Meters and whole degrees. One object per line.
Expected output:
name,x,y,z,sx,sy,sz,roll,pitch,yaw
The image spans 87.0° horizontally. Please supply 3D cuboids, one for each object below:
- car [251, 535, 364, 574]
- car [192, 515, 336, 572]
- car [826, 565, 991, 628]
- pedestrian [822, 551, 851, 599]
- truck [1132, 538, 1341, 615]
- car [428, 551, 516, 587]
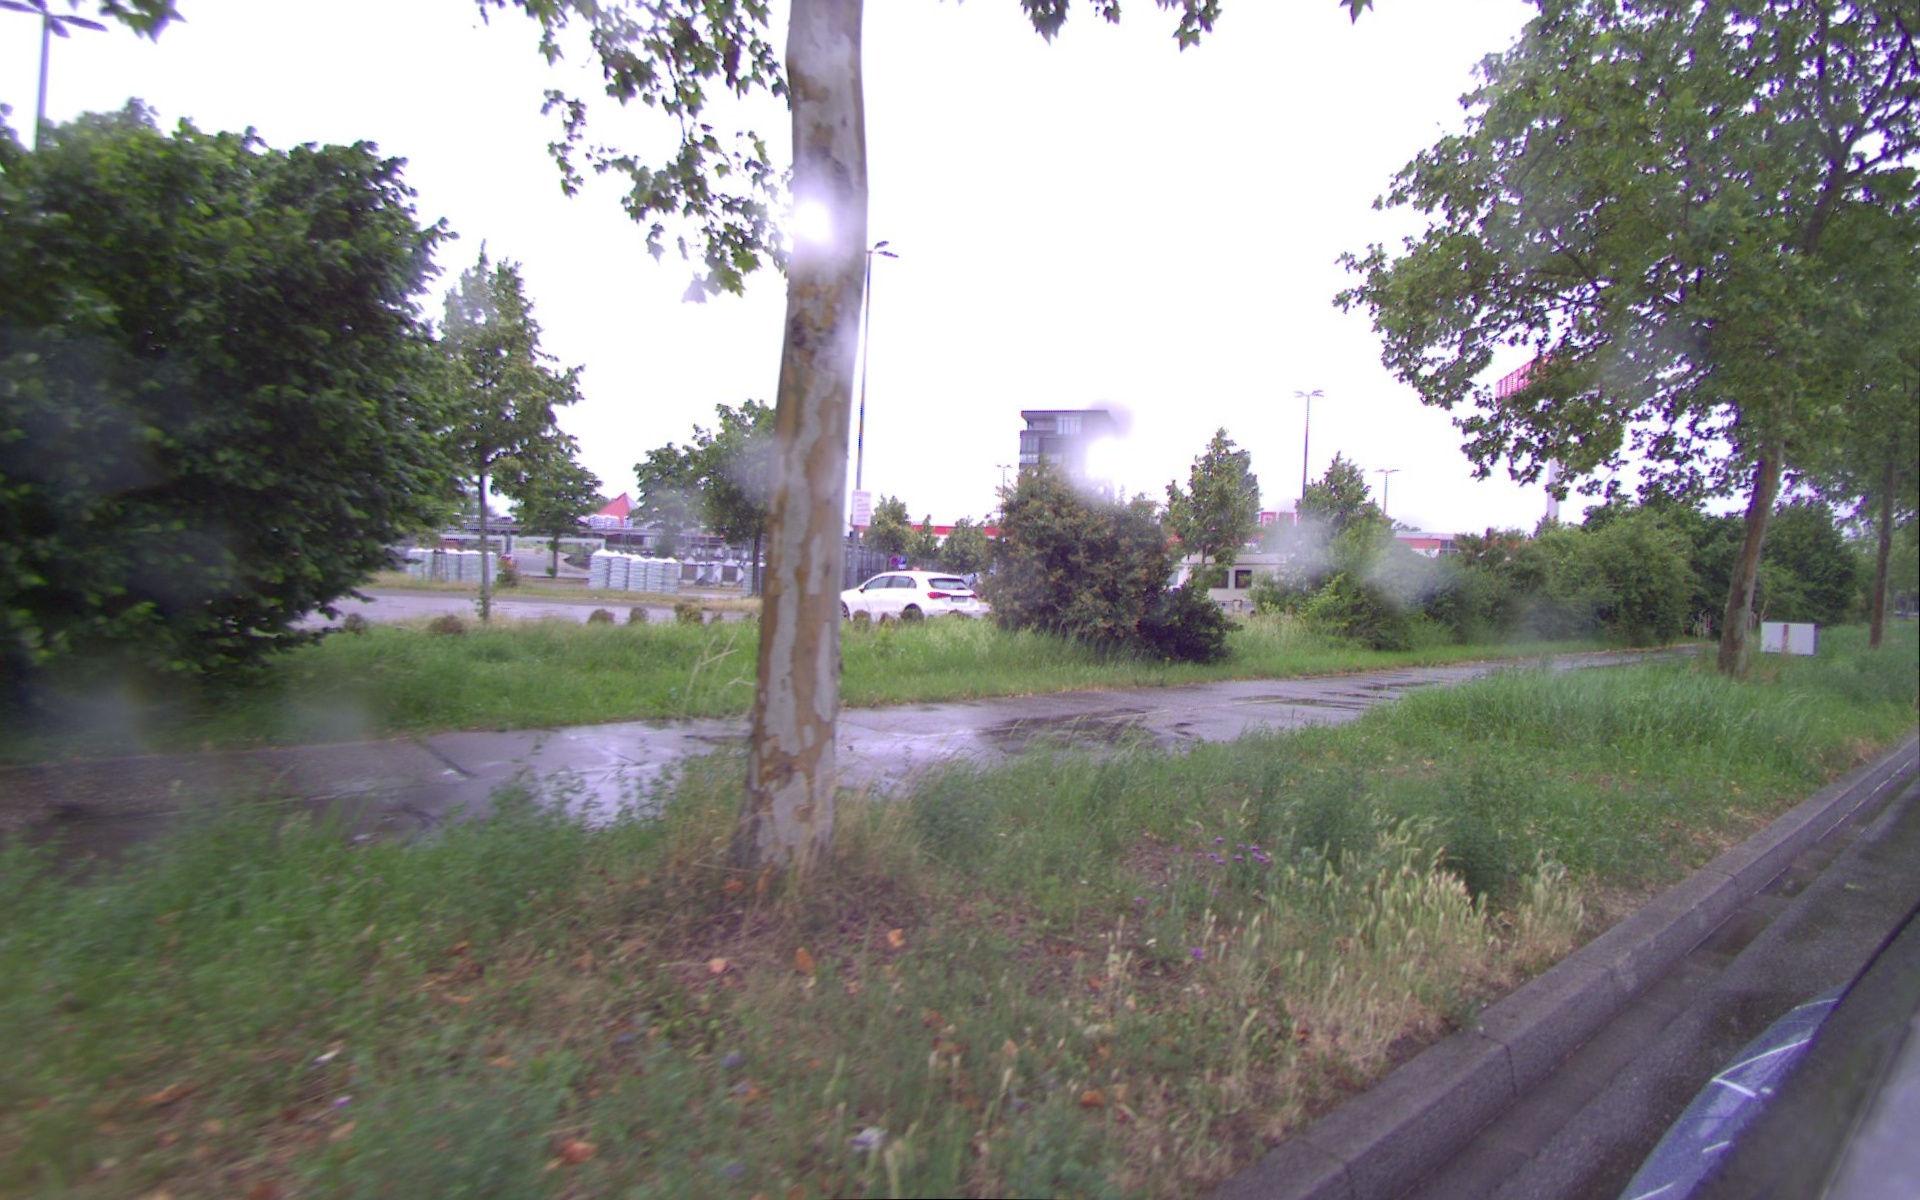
car,-38.857,-2.672,60.456,1.977,2.170,5.628,0,1,23
car,-31.440,-2.489,45.974,1.969,2.364,5.652,0,1,11
car,-1.302,-0.112,24.434,1.838,1.382,3.990,-1,1,-44
pedestrian,-4.679,-0.942,38.330,0.786,1.810,0.702,1,1,-45
truck,9.114,-0.760,33.926,6.530,2.333,2.186,1,1,43
car,-31.765,-2.060,65.874,5.085,2.229,2.072,1,3,17
